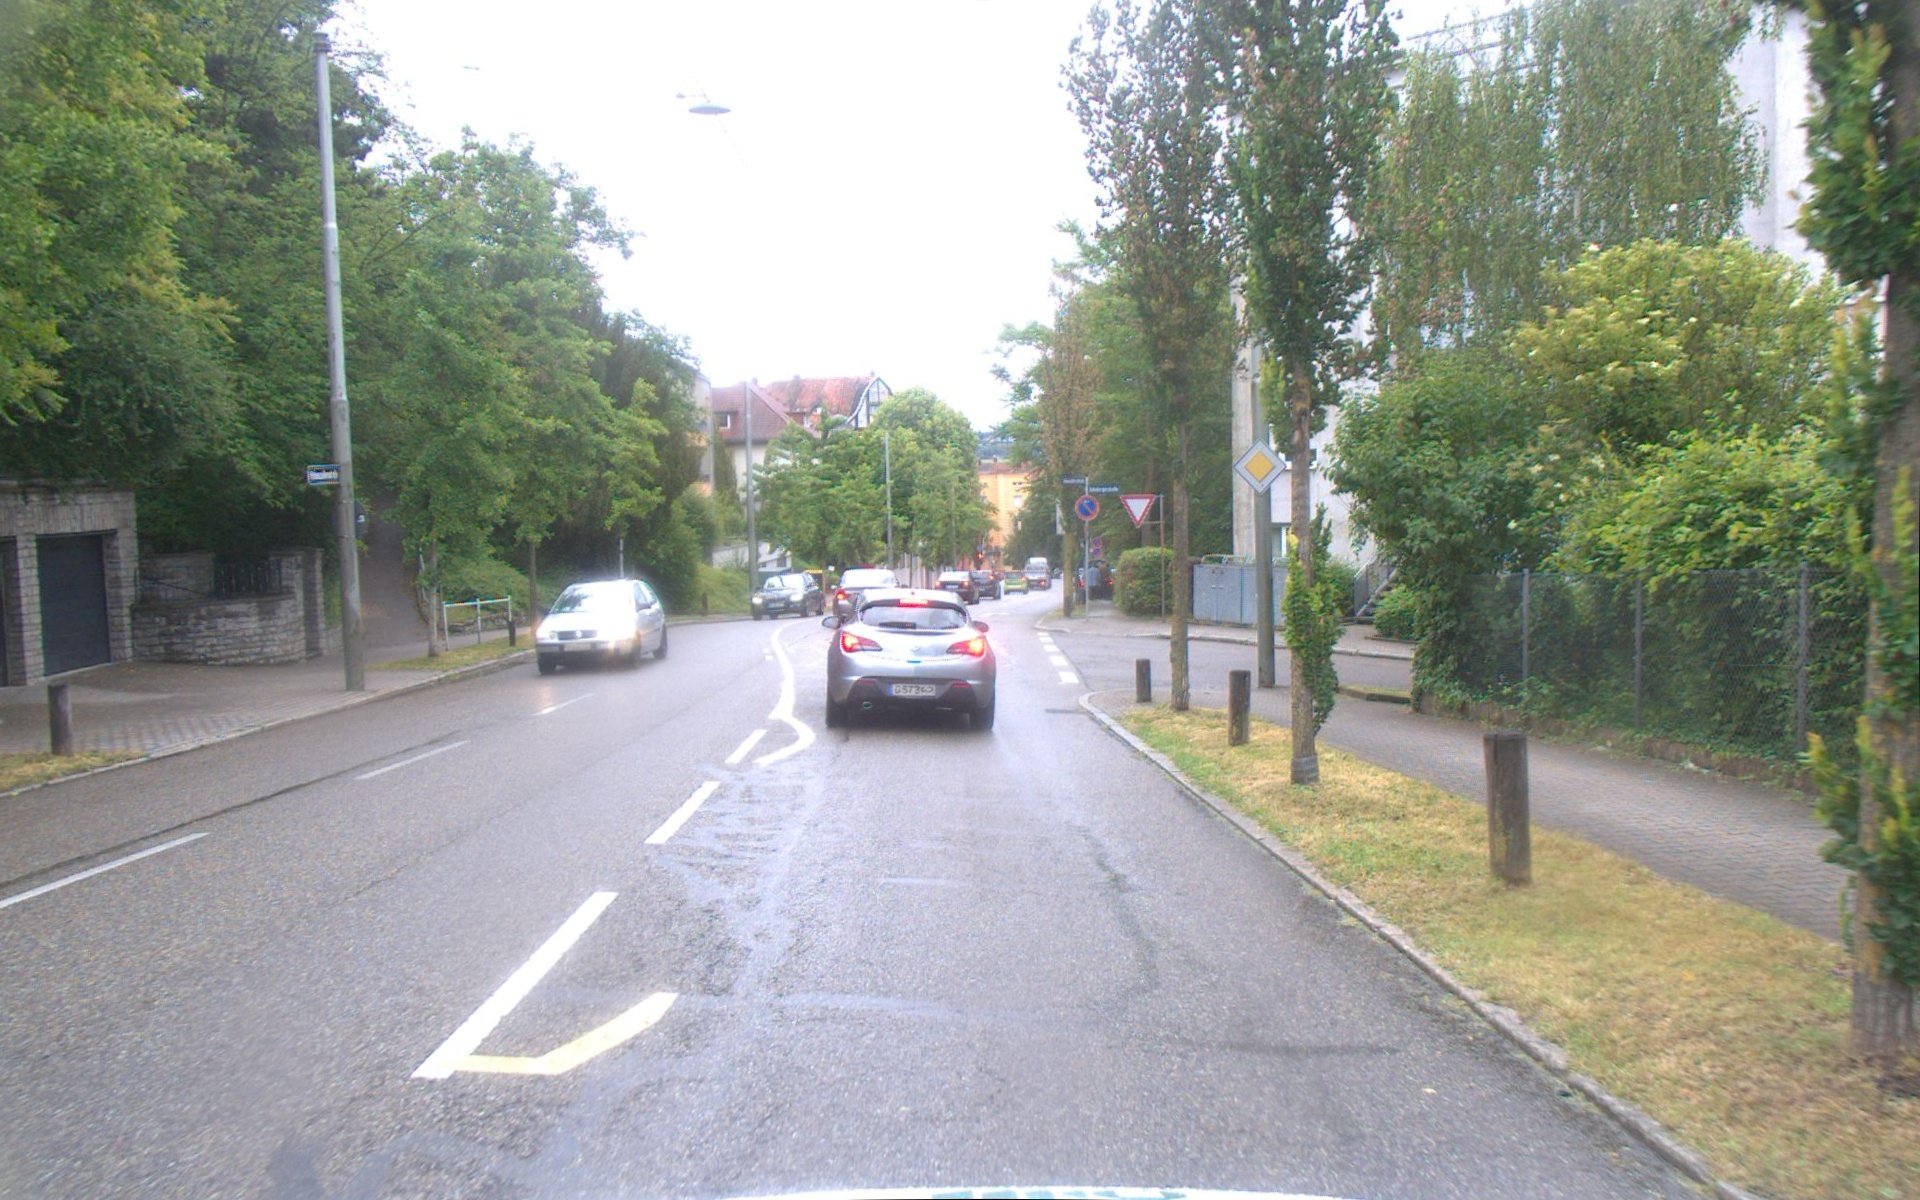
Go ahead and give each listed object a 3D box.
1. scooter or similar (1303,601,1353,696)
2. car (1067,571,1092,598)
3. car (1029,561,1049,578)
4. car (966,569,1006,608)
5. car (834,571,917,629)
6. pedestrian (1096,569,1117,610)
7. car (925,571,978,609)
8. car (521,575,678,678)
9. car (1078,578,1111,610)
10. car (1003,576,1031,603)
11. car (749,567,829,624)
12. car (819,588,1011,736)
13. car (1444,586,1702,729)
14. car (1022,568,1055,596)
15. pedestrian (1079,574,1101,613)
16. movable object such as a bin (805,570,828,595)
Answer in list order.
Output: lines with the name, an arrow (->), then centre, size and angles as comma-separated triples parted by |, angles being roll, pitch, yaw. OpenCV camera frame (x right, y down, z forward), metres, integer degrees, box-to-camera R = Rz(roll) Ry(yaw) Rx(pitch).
scooter or similar -> 5.133, 0.664, 23.130 | 0.336, 1.276, 1.267 | 2, 0, -3
car -> 10.116, -1.326, 139.827 | 1.951, 2.071, 4.739 | 2, 2, 6
car -> 8.800, -3.402, 184.448 | 1.951, 1.815, 4.004 | 2, 2, 7
car -> 1.356, -0.612, 83.931 | 1.731, 1.812, 3.979 | 2, 2, 4
car -> -2.020, -0.021, 40.470 | 1.760, 1.346, 4.000 | 0, 1, 1
pedestrian -> 6.852, -0.472, 77.515 | 0.653, 1.868, 0.685 | -4, 1, -19
car -> -0.329, -0.460, 70.726 | 1.919, 1.497, 3.953 | 2, 2, 4
car -> -6.060, 0.390, 28.202 | 1.729, 1.511, 3.802 | -3, 1, 1
car -> 6.510, -0.281, 80.095 | 1.472, 1.460, 4.002 | -2, 0, 5
car -> 3.854, -0.709, 111.066 | 1.717, 1.679, 4.002 | 2, 0, 4
car -> -5.452, -0.149, 53.381 | 1.872, 1.612, 4.588 | -4, 0, 2
car -> -0.493, 0.623, 18.735 | 1.906, 1.457, 3.883 | 1, 0, -1
car -> 7.387, 0.622, 20.345 | 1.474, 1.460, 3.998 | 3, 1, -3
car -> 6.246, -1.457, 131.750 | 2.284, 2.071, 4.739 | 2, 2, 6
pedestrian -> 6.066, -0.300, 77.163 | 0.724, 1.753, 0.761 | -4, 1, -19
movable object such as a bin -> -8.163, -0.996, 93.931 | 1.245, 1.411, 0.489 | 0, 1, 4
